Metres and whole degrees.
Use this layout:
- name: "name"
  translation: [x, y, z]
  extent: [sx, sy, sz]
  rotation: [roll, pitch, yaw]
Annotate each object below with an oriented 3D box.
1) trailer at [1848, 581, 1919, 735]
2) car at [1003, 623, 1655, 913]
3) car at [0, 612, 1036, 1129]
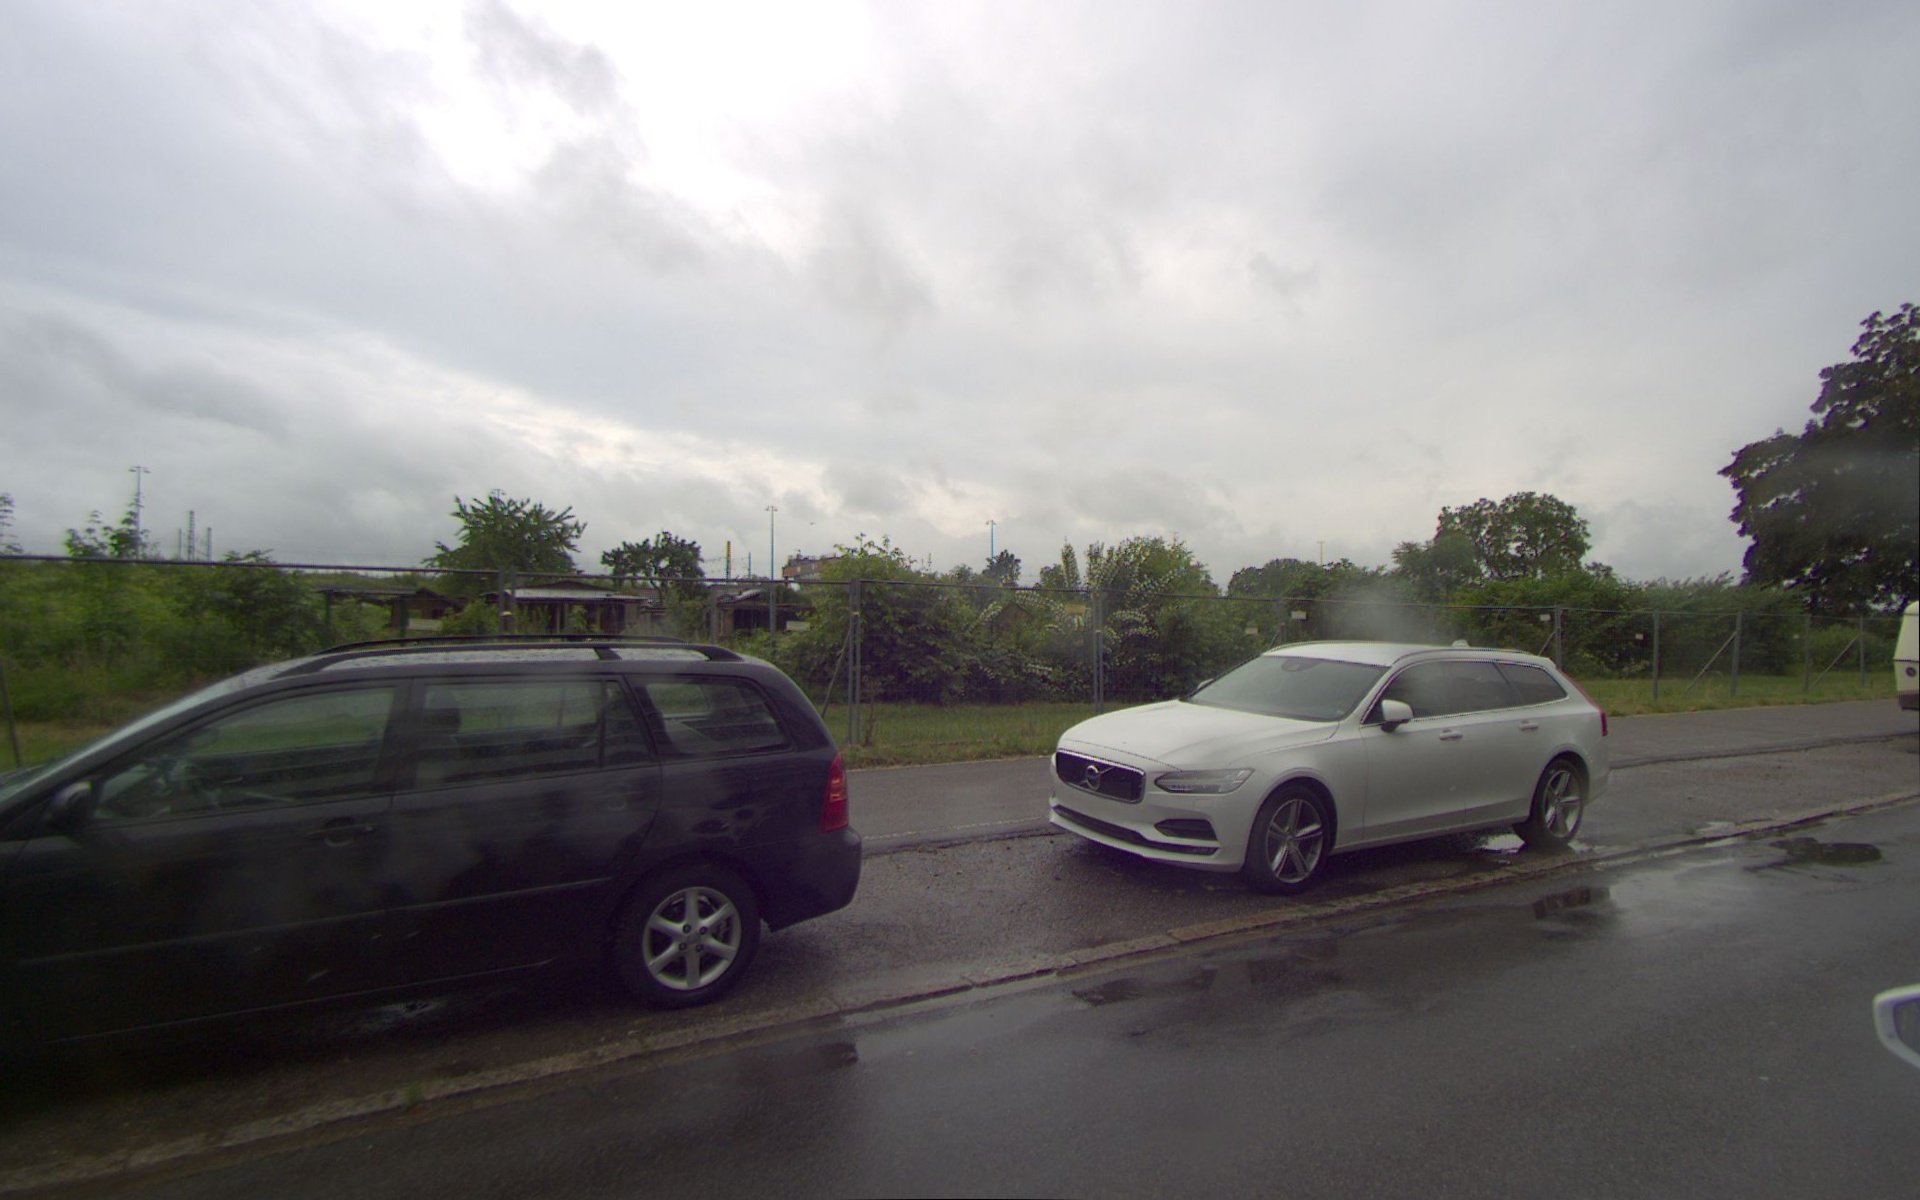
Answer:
- name: "trailer"
  translation: [16.507, 0.904, 15.951]
  extent: [5.730, 2.247, 2.048]
  rotation: [1, 0, -32]
- name: "car"
  translation: [2.943, 0.981, 7.558]
  extent: [5.051, 1.546, 1.877]
  rotation: [1, -1, -31]
- name: "car"
  translation: [-2.137, 0.871, 4.536]
  extent: [4.770, 1.523, 1.765]
  rotation: [1, 1, -30]
